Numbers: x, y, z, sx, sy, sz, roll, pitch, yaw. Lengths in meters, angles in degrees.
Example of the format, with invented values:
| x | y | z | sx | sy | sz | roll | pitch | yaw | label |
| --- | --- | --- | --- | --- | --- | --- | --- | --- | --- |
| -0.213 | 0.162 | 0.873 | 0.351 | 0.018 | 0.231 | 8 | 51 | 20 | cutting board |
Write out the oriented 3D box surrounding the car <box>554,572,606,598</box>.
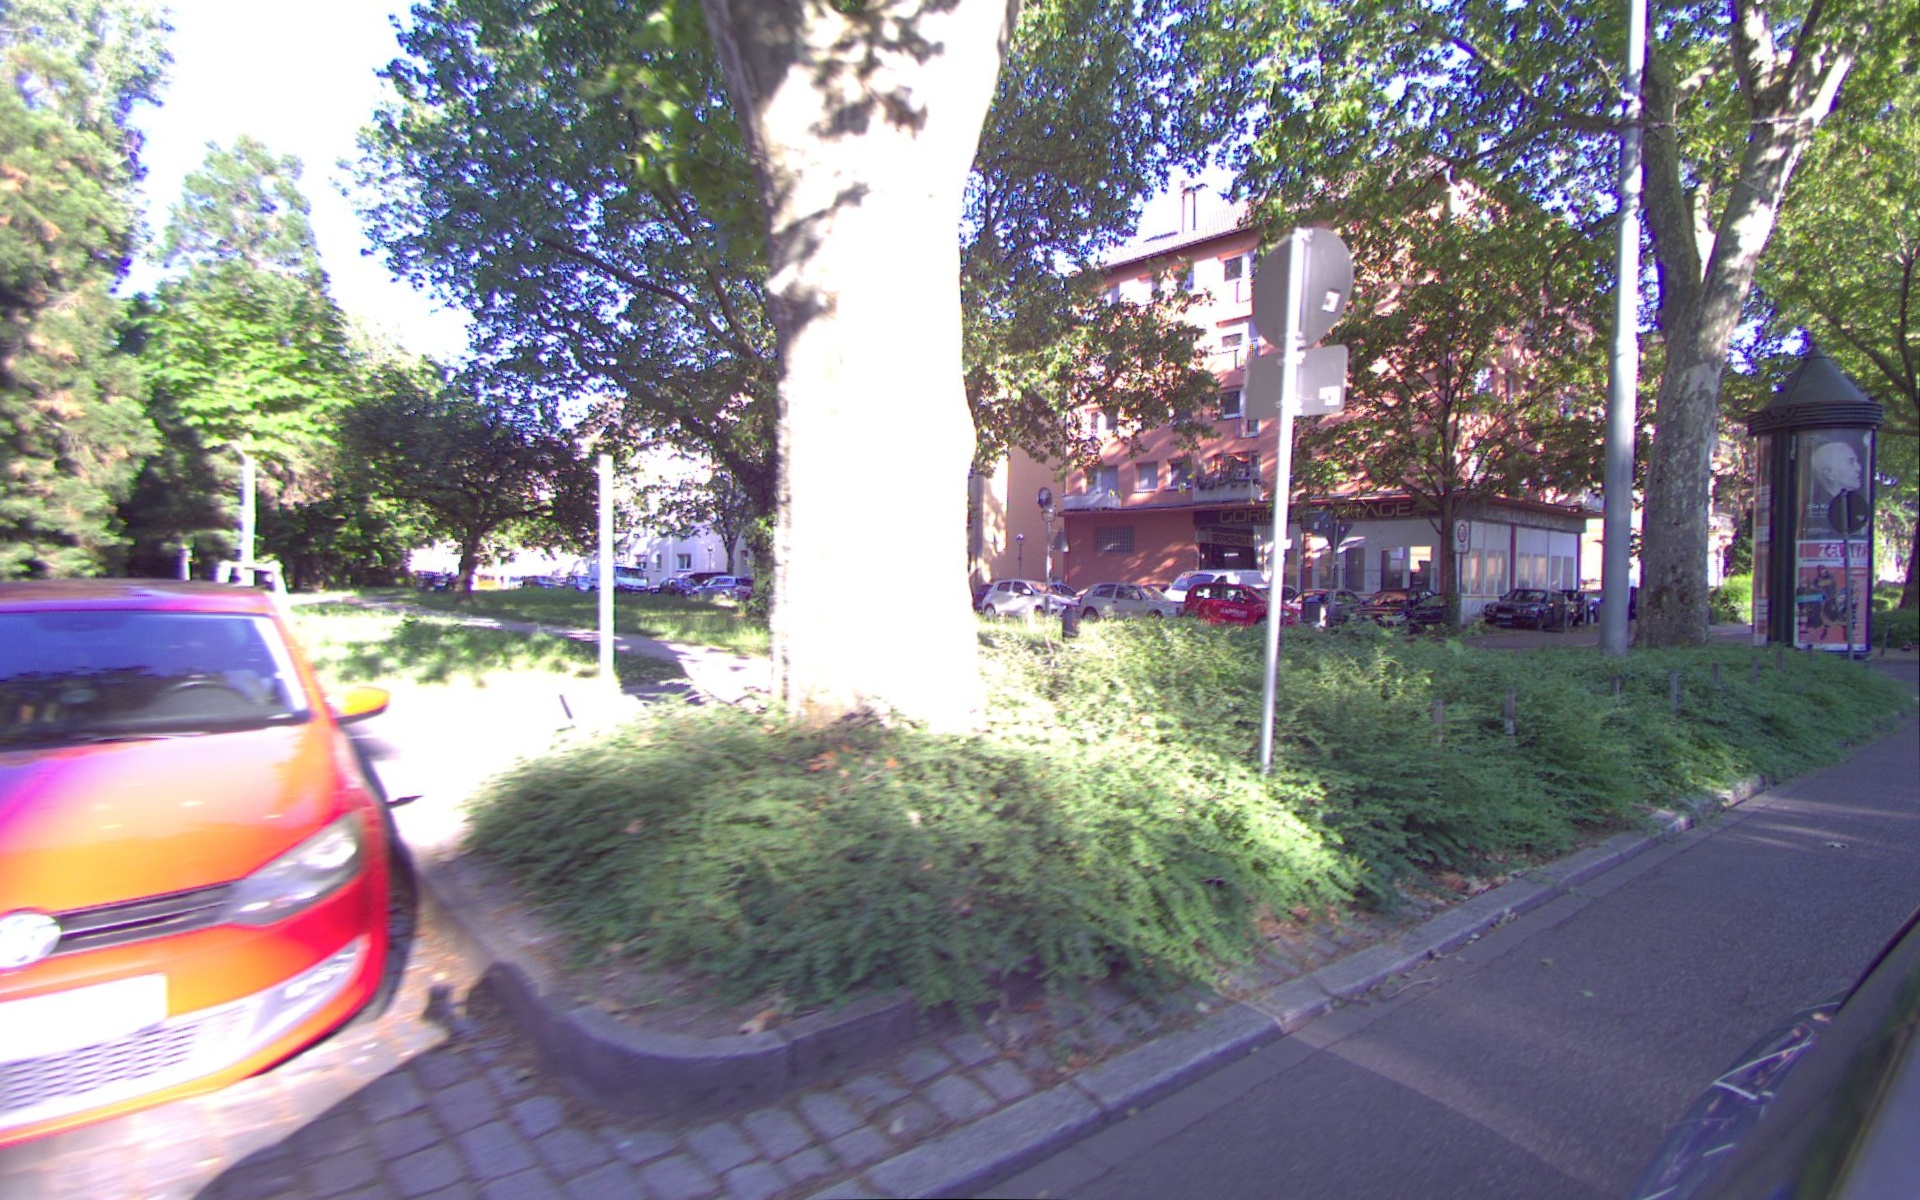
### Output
| x | y | z | sx | sy | sz | roll | pitch | yaw | label |
| --- | --- | --- | --- | --- | --- | --- | --- | --- | --- |
| -24.069 | -0.973 | 64.061 | 1.769 | 1.529 | 3.994 | 0 | 2 | -41 | car |

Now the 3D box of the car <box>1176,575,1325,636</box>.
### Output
| x | y | z | sx | sy | sz | roll | pitch | yaw | label |
| --- | --- | --- | --- | --- | --- | --- | --- | --- | --- |
| 7.790 | 0.107 | 27.359 | 1.654 | 1.470 | 3.544 | 0 | 2 | -41 | car |

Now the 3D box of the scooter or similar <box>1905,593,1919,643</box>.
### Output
| x | y | z | sx | sy | sz | roll | pitch | yaw | label |
| --- | --- | --- | --- | --- | --- | --- | --- | --- | --- |
| 24.788 | 0.462 | 25.605 | 0.560 | 1.255 | 1.210 | 0 | 2 | -41 | scooter or similar |

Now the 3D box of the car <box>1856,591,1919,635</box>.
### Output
| x | y | z | sx | sy | sz | roll | pitch | yaw | label |
| --- | --- | --- | --- | --- | --- | --- | --- | --- | --- |
| 35.796 | 0.495 | 36.872 | 1.915 | 1.562 | 4.416 | 0 | 1 | -37 | car |

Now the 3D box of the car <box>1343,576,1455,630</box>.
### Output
| x | y | z | sx | sy | sz | roll | pitch | yaw | label |
| --- | --- | --- | --- | --- | --- | --- | --- | --- | --- |
| 14.161 | 0.082 | 32.489 | 1.790 | 1.594 | 4.504 | 2 | 2 | 44 | car |

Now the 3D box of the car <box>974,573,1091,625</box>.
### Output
| x | y | z | sx | sy | sz | roll | pitch | yaw | label |
| --- | --- | --- | --- | --- | --- | --- | --- | --- | --- |
| 2.397 | -0.080 | 34.226 | 1.654 | 1.601 | 3.924 | 0 | 2 | -41 | car |

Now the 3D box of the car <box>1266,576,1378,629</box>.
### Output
| x | y | z | sx | sy | sz | roll | pitch | yaw | label |
| --- | --- | --- | --- | --- | --- | --- | --- | --- | --- |
| 12.088 | 0.060 | 33.627 | 1.790 | 1.594 | 4.504 | 2 | 2 | 44 | car |

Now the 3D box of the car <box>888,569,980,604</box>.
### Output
| x | y | z | sx | sy | sz | roll | pitch | yaw | label |
| --- | --- | --- | --- | --- | --- | --- | --- | --- | --- |
| -1.261 | -0.658 | 49.851 | 4.502 | 1.594 | 1.791 | 0 | 2 | -44 | car |

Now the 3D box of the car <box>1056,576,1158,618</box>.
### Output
| x | y | z | sx | sy | sz | roll | pitch | yaw | label |
| --- | --- | --- | --- | --- | --- | --- | --- | --- | --- |
| 6.082 | -0.141 | 41.578 | 4.502 | 1.594 | 1.791 | 0 | 2 | -44 | car |

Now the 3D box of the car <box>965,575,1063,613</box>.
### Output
| x | y | z | sx | sy | sz | roll | pitch | yaw | label |
| --- | --- | --- | --- | --- | --- | --- | --- | --- | --- |
| 2.465 | -0.282 | 45.453 | 4.502 | 1.594 | 1.791 | 0 | 2 | -44 | car |

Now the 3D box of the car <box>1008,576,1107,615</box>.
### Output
| x | y | z | sx | sy | sz | roll | pitch | yaw | label |
| --- | --- | --- | --- | --- | --- | --- | --- | --- | --- |
| 4.279 | -0.200 | 43.919 | 4.502 | 1.594 | 1.791 | 0 | 2 | -44 | car |

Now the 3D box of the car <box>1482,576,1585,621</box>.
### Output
| x | y | z | sx | sy | sz | roll | pitch | yaw | label |
| --- | --- | --- | --- | --- | --- | --- | --- | --- | --- |
| 20.493 | -0.065 | 36.109 | 4.388 | 1.452 | 1.753 | 0 | 2 | -40 | car |

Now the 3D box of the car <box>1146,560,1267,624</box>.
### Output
| x | y | z | sx | sy | sz | roll | pitch | yaw | label |
| --- | --- | --- | --- | --- | --- | --- | --- | --- | --- |
| 9.177 | -0.288 | 37.476 | 4.999 | 2.211 | 1.914 | 0 | 2 | -43 | car |

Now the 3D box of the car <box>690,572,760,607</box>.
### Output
| x | y | z | sx | sy | sz | roll | pitch | yaw | label |
| --- | --- | --- | --- | --- | --- | --- | --- | --- | --- |
| -11.455 | -0.525 | 49.176 | 1.654 | 1.601 | 3.924 | 0 | 2 | -41 | car |

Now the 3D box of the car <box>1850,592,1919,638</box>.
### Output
| x | y | z | sx | sy | sz | roll | pitch | yaw | label |
| --- | --- | --- | --- | --- | --- | --- | --- | --- | --- |
| 34.201 | 0.554 | 35.277 | 1.782 | 1.562 | 4.421 | 0 | 1 | -32 | car |

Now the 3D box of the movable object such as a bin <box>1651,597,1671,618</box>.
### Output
| x | y | z | sx | sy | sz | roll | pitch | yaw | label |
| --- | --- | --- | --- | --- | --- | --- | --- | --- | --- |
| 33.130 | 0.350 | 47.847 | 0.438 | 0.951 | 0.659 | -1 | 2 | -35 | movable object such as a bin |

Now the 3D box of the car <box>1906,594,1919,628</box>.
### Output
| x | y | z | sx | sy | sz | roll | pitch | yaw | label |
| --- | --- | --- | --- | --- | --- | --- | --- | --- | --- |
| 43.877 | 0.544 | 43.717 | 1.785 | 1.466 | 4.209 | 0 | 1 | -40 | car |

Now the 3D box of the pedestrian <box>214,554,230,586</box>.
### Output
| x | y | z | sx | sy | sz | roll | pitch | yaw | label |
| --- | --- | --- | --- | --- | --- | --- | --- | --- | --- |
| -39.166 | -1.591 | 53.697 | 0.638 | 1.682 | 0.649 | 0 | 1 | -40 | pedestrian |

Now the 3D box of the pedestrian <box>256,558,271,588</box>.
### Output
| x | y | z | sx | sy | sz | roll | pitch | yaw | label |
| --- | --- | --- | --- | --- | --- | --- | --- | --- | --- |
| -38.777 | -1.510 | 56.319 | 0.638 | 1.682 | 0.649 | 0 | 1 | -40 | pedestrian |

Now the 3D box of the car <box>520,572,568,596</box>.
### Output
| x | y | z | sx | sy | sz | roll | pitch | yaw | label |
| --- | --- | --- | --- | --- | --- | --- | --- | --- | --- |
| -27.981 | -1.075 | 67.969 | 1.769 | 1.529 | 3.994 | 0 | 2 | -41 | car |

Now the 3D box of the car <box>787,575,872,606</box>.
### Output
| x | y | z | sx | sy | sz | roll | pitch | yaw | label |
| --- | --- | --- | --- | --- | --- | --- | --- | --- | --- |
| -7.218 | -0.532 | 56.250 | 4.502 | 1.594 | 1.791 | 0 | 2 | -44 | car |

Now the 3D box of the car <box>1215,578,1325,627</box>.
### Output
| x | y | z | sx | sy | sz | roll | pitch | yaw | label |
| --- | --- | --- | --- | --- | --- | --- | --- | --- | --- |
| 11.076 | 0.075 | 36.030 | 4.502 | 1.594 | 1.791 | 0 | 2 | -44 | car |

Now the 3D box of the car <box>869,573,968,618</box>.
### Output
| x | y | z | sx | sy | sz | roll | pitch | yaw | label |
| --- | --- | --- | --- | --- | --- | --- | --- | --- | --- |
| -1.630 | -0.197 | 38.524 | 1.654 | 1.601 | 3.924 | 0 | 2 | -41 | car |

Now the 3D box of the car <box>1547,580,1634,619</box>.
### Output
| x | y | z | sx | sy | sz | roll | pitch | yaw | label |
| --- | --- | --- | --- | --- | --- | --- | --- | --- | --- |
| 24.999 | -0.041 | 40.079 | 3.880 | 1.452 | 1.753 | 0 | 2 | -40 | car |

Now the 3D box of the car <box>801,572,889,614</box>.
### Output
| x | y | z | sx | sy | sz | roll | pitch | yaw | label |
| --- | --- | --- | --- | --- | --- | --- | --- | --- | --- |
| -4.800 | -0.321 | 41.822 | 1.654 | 1.601 | 3.924 | 0 | 2 | -41 | car |

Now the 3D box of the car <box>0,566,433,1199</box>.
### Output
| x | y | z | sx | sy | sz | roll | pitch | yaw | label |
| --- | --- | --- | --- | --- | --- | --- | --- | --- | --- |
| -3.229 | 0.608 | 3.825 | 1.617 | 1.441 | 3.897 | 0 | 2 | -36 | car |

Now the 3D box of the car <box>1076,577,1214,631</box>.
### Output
| x | y | z | sx | sy | sz | roll | pitch | yaw | label |
| --- | --- | --- | --- | --- | --- | --- | --- | --- | --- |
| 5.538 | 0.080 | 30.586 | 1.654 | 1.470 | 3.924 | 0 | 2 | -41 | car |

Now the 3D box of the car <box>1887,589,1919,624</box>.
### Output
| x | y | z | sx | sy | sz | roll | pitch | yaw | label |
| --- | --- | --- | --- | --- | --- | --- | --- | --- | --- |
| 45.200 | 0.323 | 46.018 | 1.784 | 1.575 | 4.212 | 0 | 1 | -37 | car |

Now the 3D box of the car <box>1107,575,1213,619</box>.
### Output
| x | y | z | sx | sy | sz | roll | pitch | yaw | label |
| --- | --- | --- | --- | --- | --- | --- | --- | --- | --- |
| 7.819 | -0.122 | 39.393 | 4.502 | 1.594 | 1.791 | 0 | 2 | -44 | car |

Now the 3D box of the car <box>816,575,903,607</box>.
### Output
| x | y | z | sx | sy | sz | roll | pitch | yaw | label |
| --- | --- | --- | --- | --- | --- | --- | --- | --- | --- |
| -5.360 | -0.479 | 54.320 | 4.502 | 1.594 | 1.791 | 0 | 2 | -44 | car |

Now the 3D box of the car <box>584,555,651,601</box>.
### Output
| x | y | z | sx | sy | sz | roll | pitch | yaw | label |
| --- | --- | --- | --- | --- | --- | --- | --- | --- | --- |
| -20.219 | -1.298 | 59.680 | 1.942 | 2.594 | 5.038 | 0 | 1 | -41 | car |
